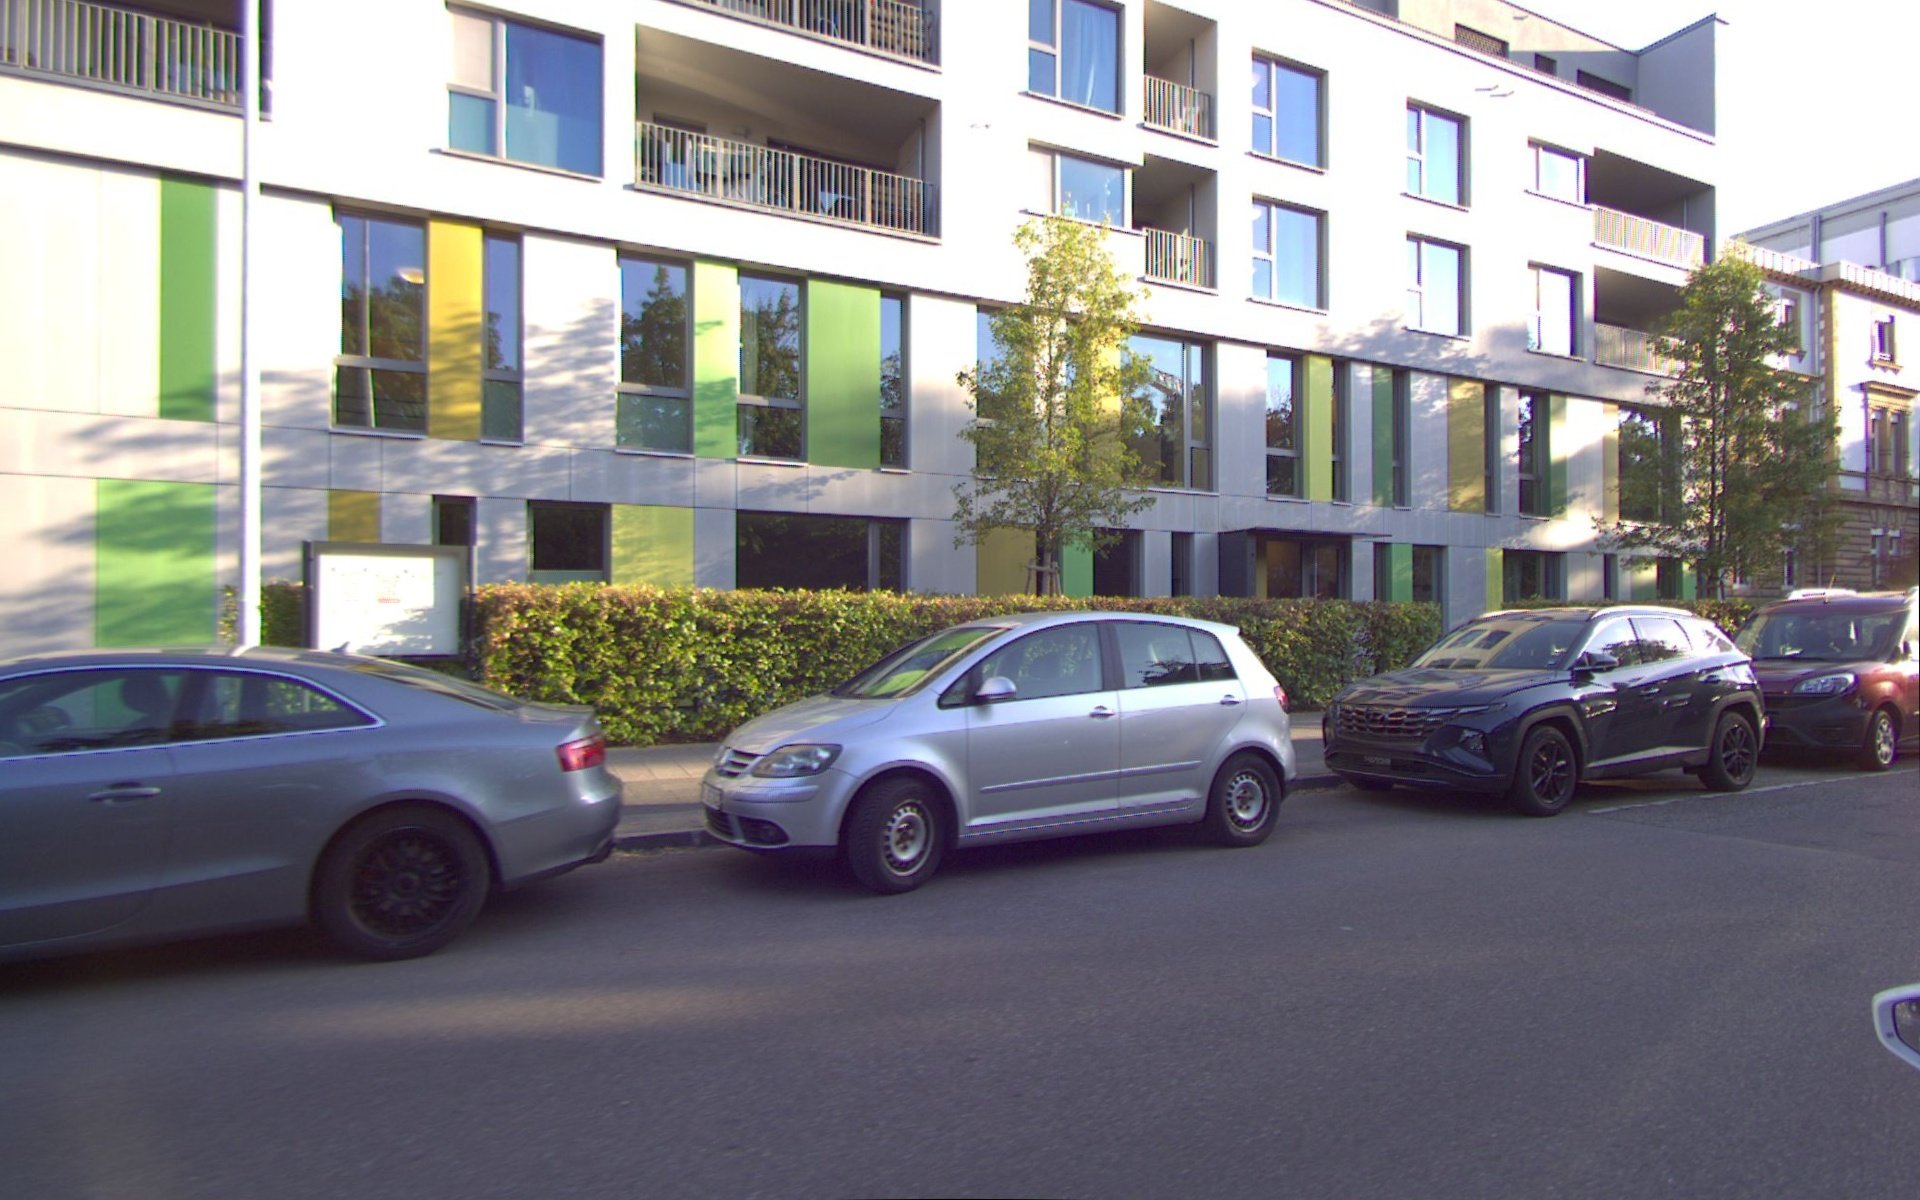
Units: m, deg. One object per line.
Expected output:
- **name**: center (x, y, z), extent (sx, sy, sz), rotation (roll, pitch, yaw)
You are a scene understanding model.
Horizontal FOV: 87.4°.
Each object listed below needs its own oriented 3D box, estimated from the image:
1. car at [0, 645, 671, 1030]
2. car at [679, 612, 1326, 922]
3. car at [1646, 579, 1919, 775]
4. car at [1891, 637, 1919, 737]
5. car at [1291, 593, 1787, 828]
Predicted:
- **car**: center (-3.690, 0.925, 4.607), extent (4.338, 1.374, 1.737), rotation (1, -2, -26)
- **car**: center (0.341, 0.883, 6.774), extent (4.063, 1.554, 1.735), rotation (1, -2, -28)
- **car**: center (10.079, 0.789, 11.545), extent (4.183, 1.914, 1.801), rotation (0, -2, -27)
- **car**: center (14.494, 1.130, 13.615), extent (3.684, 1.297, 1.551), rotation (0, -2, -27)
- **car**: center (5.246, 0.835, 9.023), extent (4.359, 1.698, 1.736), rotation (0, -2, -27)
